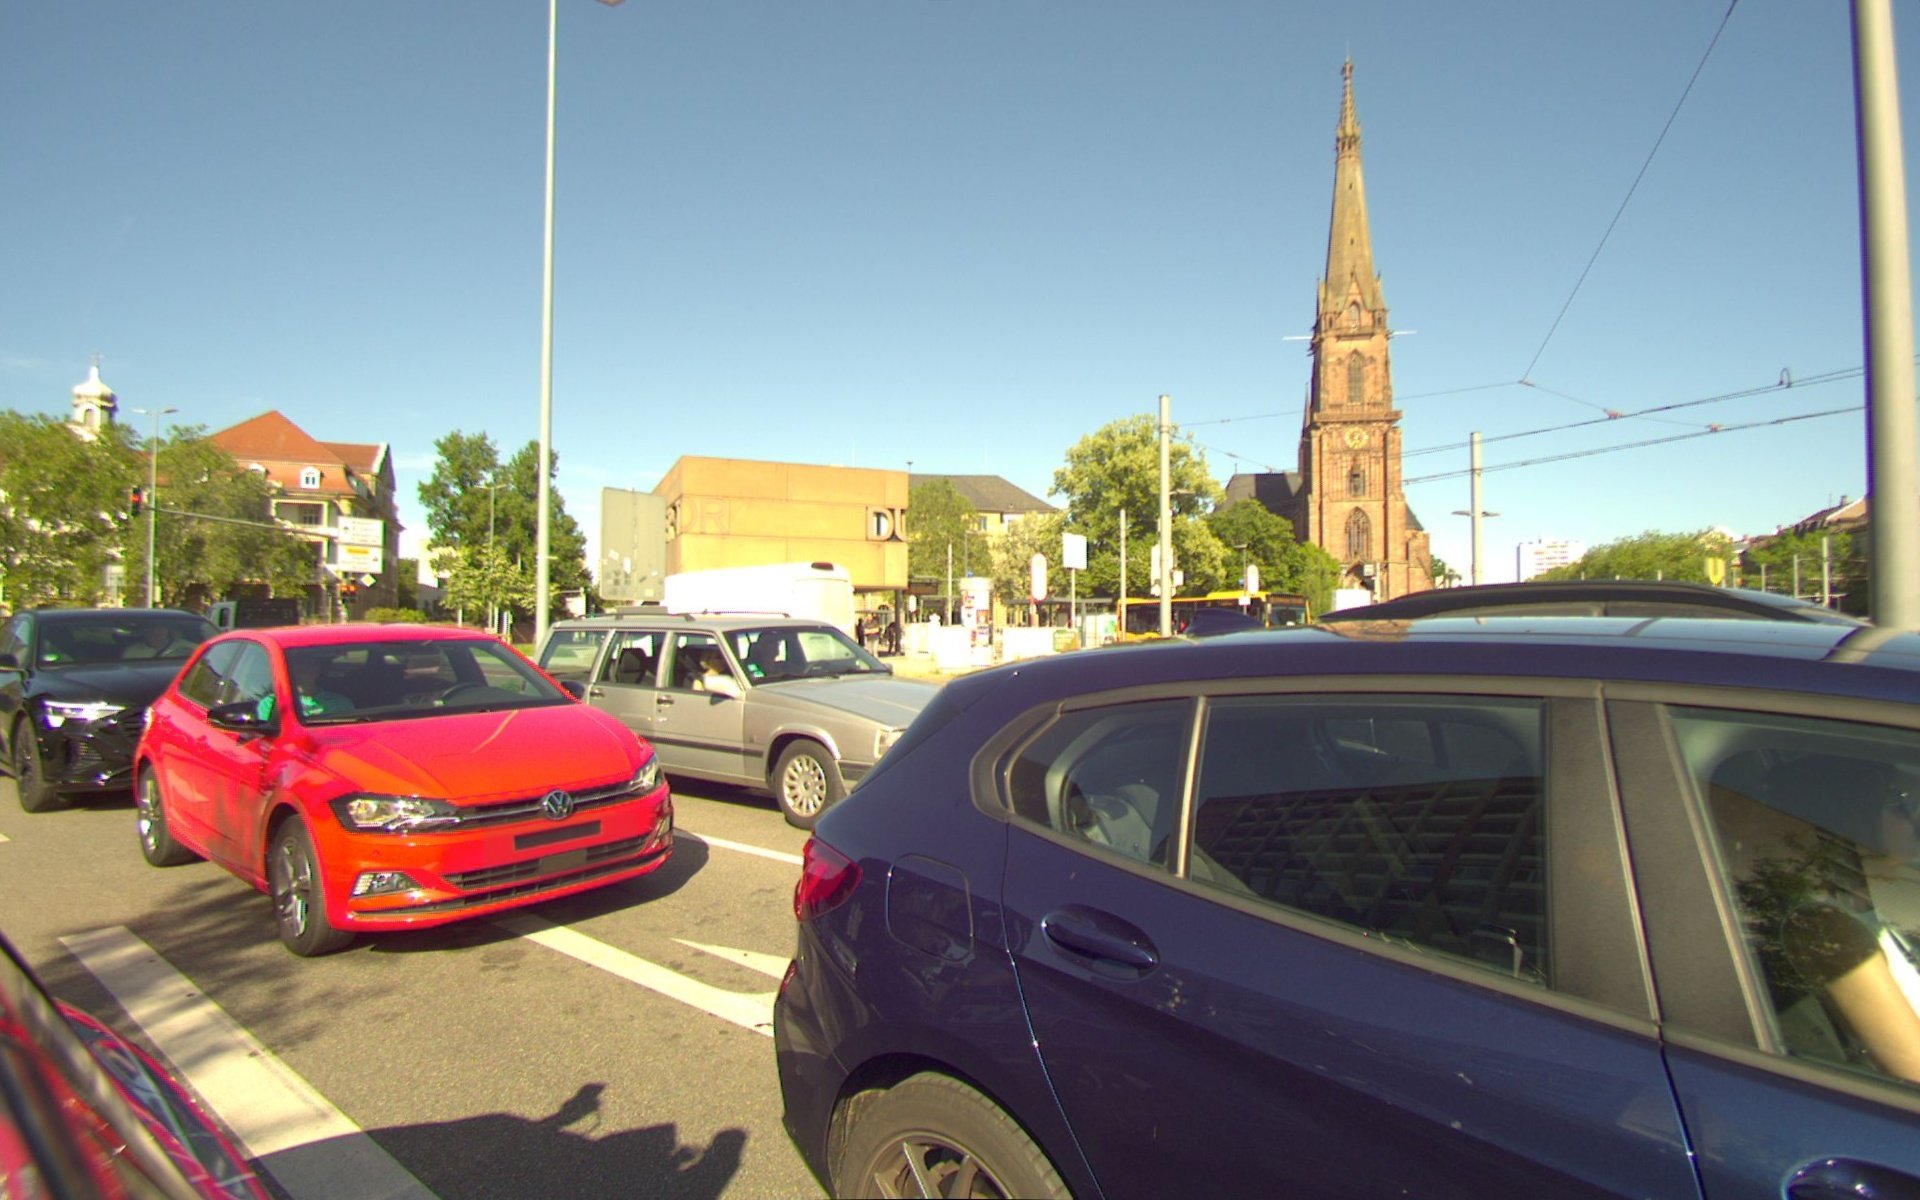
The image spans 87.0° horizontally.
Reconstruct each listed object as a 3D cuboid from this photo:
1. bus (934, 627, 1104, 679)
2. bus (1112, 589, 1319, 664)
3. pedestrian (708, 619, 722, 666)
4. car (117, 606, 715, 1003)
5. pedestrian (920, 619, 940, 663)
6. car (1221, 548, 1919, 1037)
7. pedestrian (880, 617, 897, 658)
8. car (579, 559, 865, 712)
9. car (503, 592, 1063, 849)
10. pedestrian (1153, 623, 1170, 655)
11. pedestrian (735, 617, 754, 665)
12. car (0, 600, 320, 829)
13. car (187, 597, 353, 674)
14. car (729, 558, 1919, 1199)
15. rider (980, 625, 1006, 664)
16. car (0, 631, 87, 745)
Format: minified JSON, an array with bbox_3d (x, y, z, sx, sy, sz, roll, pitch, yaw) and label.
[{"bbox_3d":[1.481,1.326,26.183,4.174,1.251,1.627,-1,-2,35],"label":"bus"},{"bbox_3d":[11.631,1.320,48.111,2.715,3.088,12.201,1,-2,-23],"label":"bus"},{"bbox_3d":[-9.355,1.625,38.638,0.460,1.789,0.648,0,-2,-21],"label":"pedestrian"},{"bbox_3d":[-3.238,0.811,5.692,3.850,1.484,1.653,-2,-1,40],"label":"car"},{"bbox_3d":[-1.211,1.659,40.966,0.634,1.789,0.470,1,-2,-29],"label":"pedestrian"},{"bbox_3d":[3.301,0.616,4.087,4.010,1.529,1.738,-2,-2,44],"label":"car"},{"bbox_3d":[-3.173,1.653,45.055,0.468,1.789,0.638,-2,-2,36],"label":"pedestrian"},{"bbox_3d":[-4.531,0.660,18.984,5.399,2.527,1.979,-1,-2,31],"label":"car"},{"bbox_3d":[-1.657,0.808,8.188,4.746,1.484,1.692,-3,0,38],"label":"car"},{"bbox_3d":[9.668,1.857,48.639,0.519,1.525,0.572,-1,-1,-33],"label":"pedestrian"},{"bbox_3d":[-8.146,1.532,38.283,0.635,1.789,0.618,0,-2,-8],"label":"pedestrian"},{"bbox_3d":[-7.812,0.881,9.312,4.446,1.628,1.836,-1,-2,38],"label":"car"},{"bbox_3d":[-22.650,1.148,33.124,6.191,2.331,2.095,-1,-2,31],"label":"car"},{"bbox_3d":[1.590,0.684,1.374,4.030,1.456,1.692,-1,-1,42],"label":"car"},{"bbox_3d":[1.258,1.686,38.730,0.658,1.475,0.864,1,-2,-30],"label":"rider"},{"bbox_3d":[-13.599,1.149,13.879,3.704,1.429,1.557,-1,-2,35],"label":"car"}]
